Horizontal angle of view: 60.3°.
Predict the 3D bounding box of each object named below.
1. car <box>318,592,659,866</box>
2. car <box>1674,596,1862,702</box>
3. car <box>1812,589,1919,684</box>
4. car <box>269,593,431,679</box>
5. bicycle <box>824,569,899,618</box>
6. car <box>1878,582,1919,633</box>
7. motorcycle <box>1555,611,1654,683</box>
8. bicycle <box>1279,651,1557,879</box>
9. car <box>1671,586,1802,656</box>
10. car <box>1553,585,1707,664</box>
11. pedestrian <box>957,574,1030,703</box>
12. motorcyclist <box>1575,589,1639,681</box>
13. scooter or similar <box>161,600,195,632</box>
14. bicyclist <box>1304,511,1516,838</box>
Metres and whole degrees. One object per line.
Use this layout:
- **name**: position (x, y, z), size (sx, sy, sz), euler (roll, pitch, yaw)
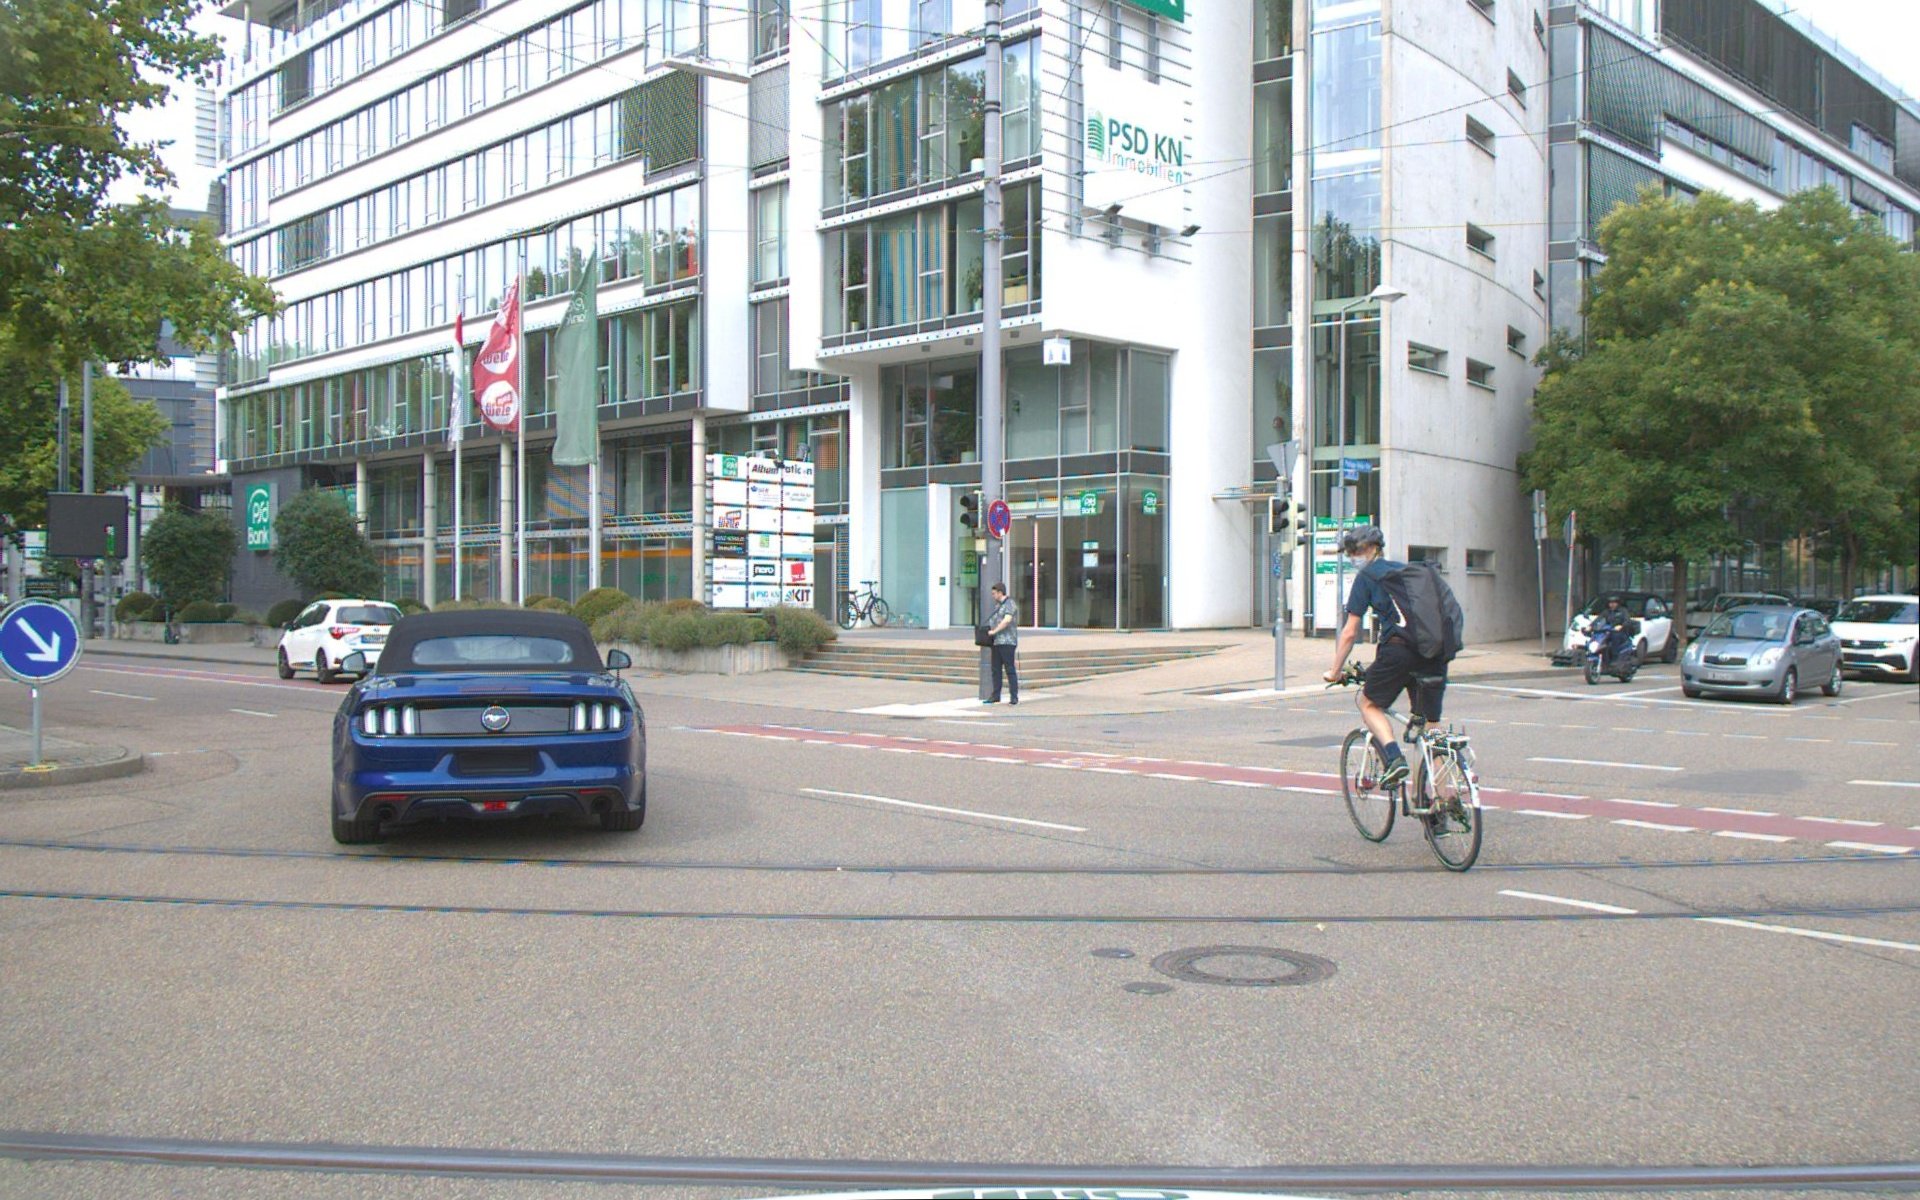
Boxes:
- **car**: position (-3.164, 0.700, 11.394), size (1.845, 1.428, 4.266), euler (0, 1, -15)
- **car**: position (13.753, 0.764, 28.035), size (1.645, 1.532, 4.206), euler (3, 3, 43)
- **car**: position (18.777, 0.676, 33.400), size (1.691, 1.688, 4.105), euler (3, 3, 43)
- **car**: position (-11.540, 0.622, 31.143), size (1.821, 1.464, 4.133), euler (-1, 1, -36)
- **bicycle**: position (-2.509, -0.166, 42.399), size (0.576, 1.197, 2.102), euler (2, 2, 41)
- **car**: position (32.464, 0.226, 55.539), size (1.957, 1.583, 4.487), euler (3, 3, 41)
- **motorcycle**: position (11.989, 0.852, 30.711), size (0.814, 1.220, 2.485), euler (2, 2, 44)
- **bicycle**: position (2.654, 0.908, 9.878), size (0.785, 1.105, 2.127), euler (0, 1, -9)
- **car**: position (19.959, 0.493, 42.435), size (1.805, 1.583, 4.188), euler (3, 3, 43)
- **car**: position (15.163, 0.496, 37.322), size (1.805, 1.583, 4.188), euler (3, 3, 43)
- **pedestrian**: position (0.499, 0.561, 25.024), size (0.758, 1.897, 0.825), euler (-1, 1, -37)
- **motorcyclist**: position (12.023, 0.629, 30.729), size (0.808, 1.644, 0.876), euler (2, 2, 44)
- **scooter or similar**: position (-24.903, 0.501, 52.678), size (0.583, 0.967, 1.834), euler (-1, 1, -38)
- **bicyclist**: position (2.655, 0.404, 9.873), size (0.781, 1.816, 1.230), euler (0, 1, -10)
